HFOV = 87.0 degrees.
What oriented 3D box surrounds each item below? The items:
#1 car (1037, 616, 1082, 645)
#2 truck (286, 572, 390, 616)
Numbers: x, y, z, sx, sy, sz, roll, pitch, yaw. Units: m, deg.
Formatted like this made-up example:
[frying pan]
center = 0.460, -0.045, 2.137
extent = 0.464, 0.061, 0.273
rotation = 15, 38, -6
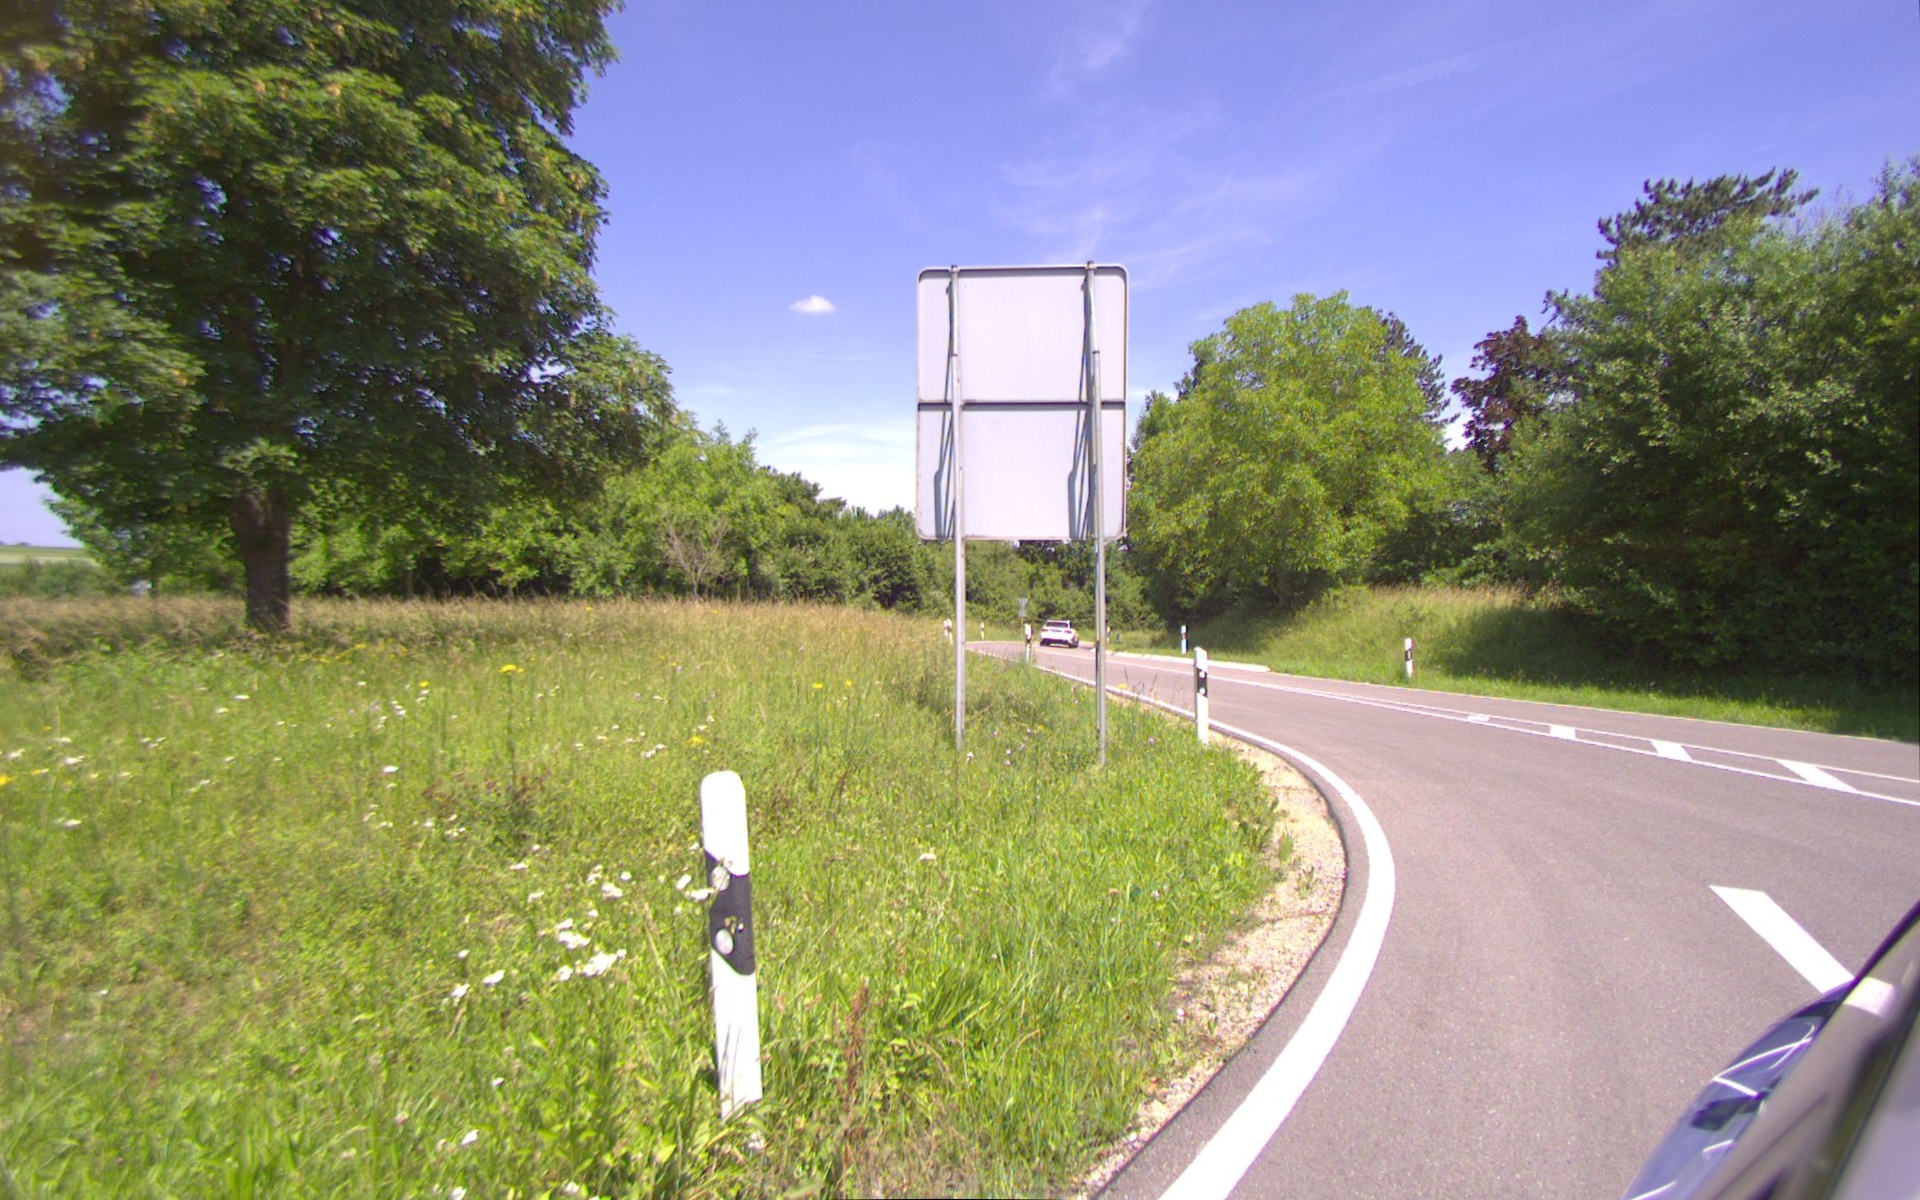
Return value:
[car]
center = 5.425, 1.668, 54.488
extent = 1.783, 1.430, 5.312
rotation = 2, -2, 12
[truck]
center = -63.756, -0.556, 104.441
extent = 2.793, 4.184, 16.836
rotation = 1, 0, -9
